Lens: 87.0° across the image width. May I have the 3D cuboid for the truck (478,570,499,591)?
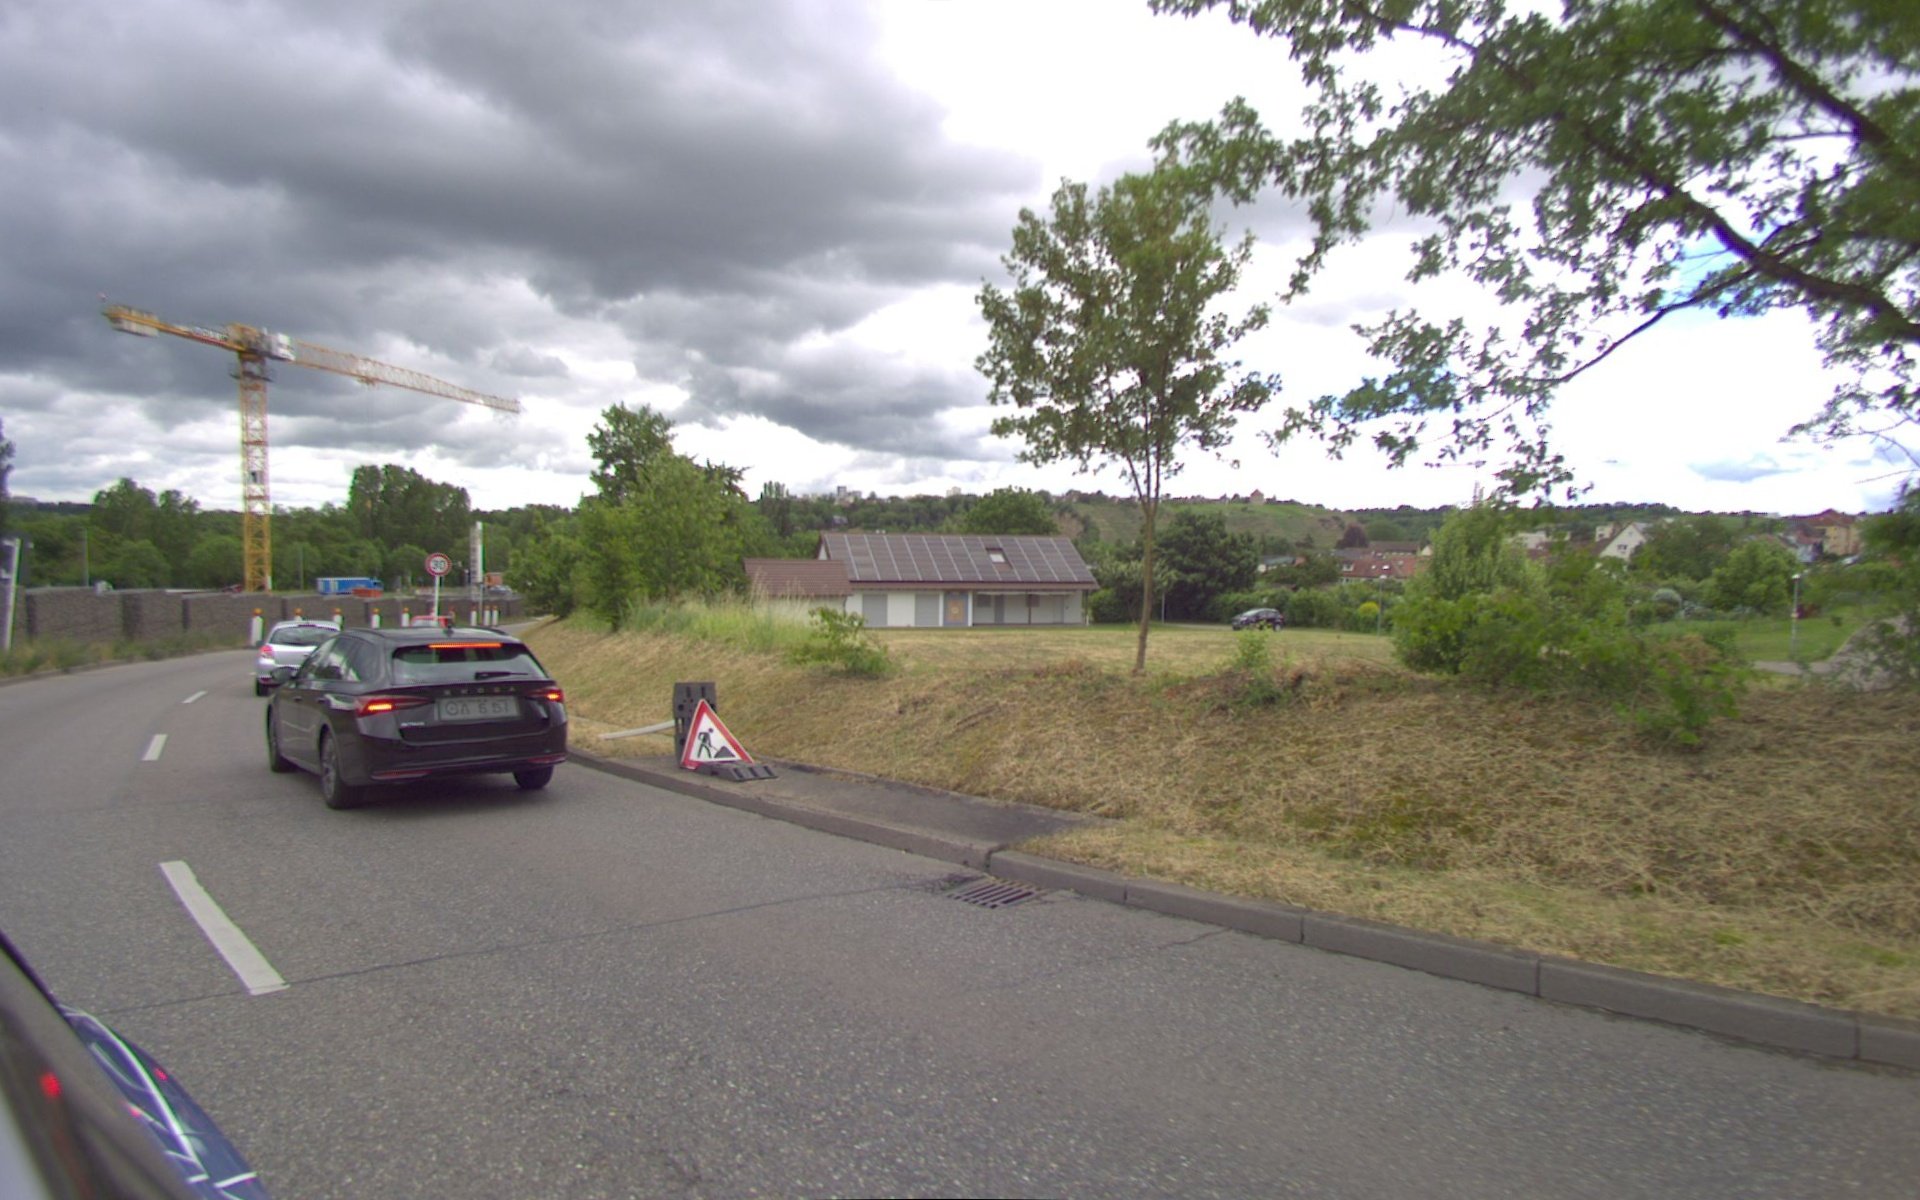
[{"bbox_3d":[-92.216,-3.802,198.092,2.989,3.926,10.037,-1,2,-21],"label":"truck"}]

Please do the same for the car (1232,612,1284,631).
[{"bbox_3d":[21.570,1.539,73.196,3.752,1.243,1.424,-2,2,-31],"label":"car"}]

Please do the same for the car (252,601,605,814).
[{"bbox_3d":[-5.095,0.794,9.377,1.716,1.506,4.439,3,-2,-43],"label":"car"}]

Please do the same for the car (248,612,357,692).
[{"bbox_3d":[-13.997,1.038,21.481,1.750,1.506,3.924,2,-1,-35],"label":"car"}]

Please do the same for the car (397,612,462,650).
[{"bbox_3d":[-22.023,1.280,42.153,1.717,1.427,3.765,3,-2,-18],"label":"car"}]

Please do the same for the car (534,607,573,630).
[{"bbox_3d":[-28.727,1.349,71.605,1.856,1.489,4.613,2,-3,-14],"label":"car"}]

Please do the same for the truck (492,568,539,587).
[{"bbox_3d":[-79.157,-3.939,180.358,7.535,3.282,2.749,0,2,13],"label":"truck"}]
